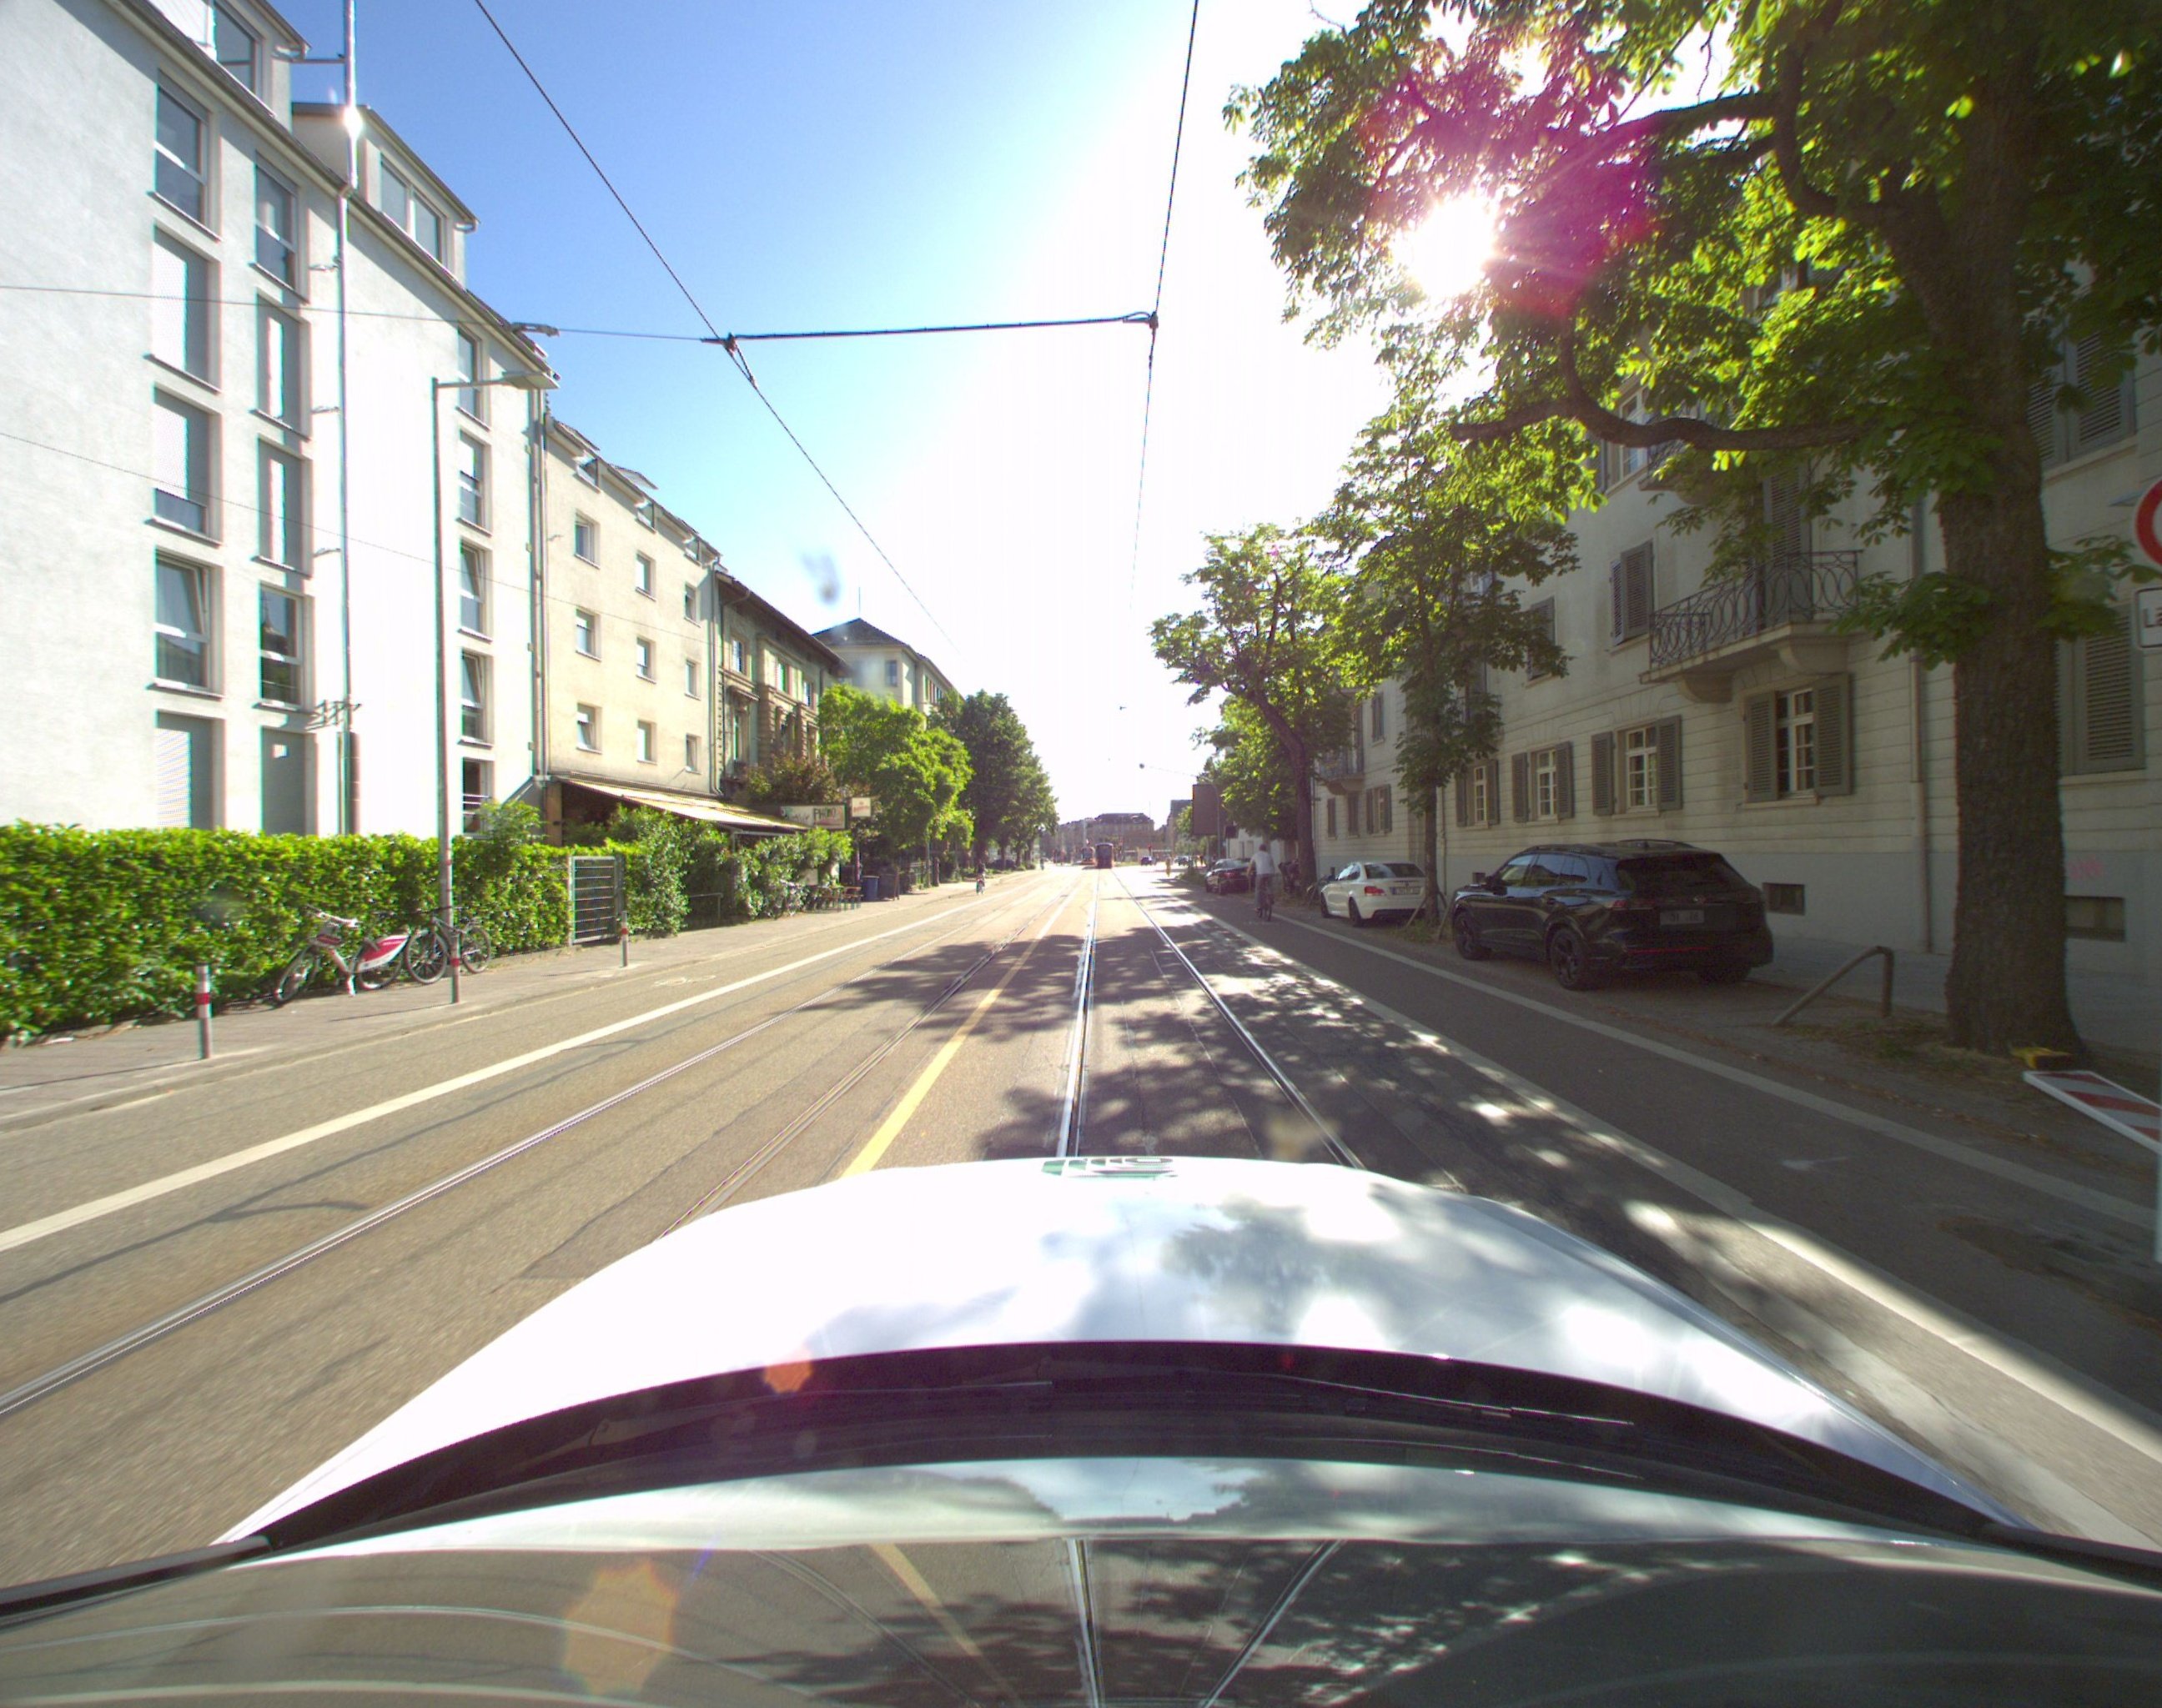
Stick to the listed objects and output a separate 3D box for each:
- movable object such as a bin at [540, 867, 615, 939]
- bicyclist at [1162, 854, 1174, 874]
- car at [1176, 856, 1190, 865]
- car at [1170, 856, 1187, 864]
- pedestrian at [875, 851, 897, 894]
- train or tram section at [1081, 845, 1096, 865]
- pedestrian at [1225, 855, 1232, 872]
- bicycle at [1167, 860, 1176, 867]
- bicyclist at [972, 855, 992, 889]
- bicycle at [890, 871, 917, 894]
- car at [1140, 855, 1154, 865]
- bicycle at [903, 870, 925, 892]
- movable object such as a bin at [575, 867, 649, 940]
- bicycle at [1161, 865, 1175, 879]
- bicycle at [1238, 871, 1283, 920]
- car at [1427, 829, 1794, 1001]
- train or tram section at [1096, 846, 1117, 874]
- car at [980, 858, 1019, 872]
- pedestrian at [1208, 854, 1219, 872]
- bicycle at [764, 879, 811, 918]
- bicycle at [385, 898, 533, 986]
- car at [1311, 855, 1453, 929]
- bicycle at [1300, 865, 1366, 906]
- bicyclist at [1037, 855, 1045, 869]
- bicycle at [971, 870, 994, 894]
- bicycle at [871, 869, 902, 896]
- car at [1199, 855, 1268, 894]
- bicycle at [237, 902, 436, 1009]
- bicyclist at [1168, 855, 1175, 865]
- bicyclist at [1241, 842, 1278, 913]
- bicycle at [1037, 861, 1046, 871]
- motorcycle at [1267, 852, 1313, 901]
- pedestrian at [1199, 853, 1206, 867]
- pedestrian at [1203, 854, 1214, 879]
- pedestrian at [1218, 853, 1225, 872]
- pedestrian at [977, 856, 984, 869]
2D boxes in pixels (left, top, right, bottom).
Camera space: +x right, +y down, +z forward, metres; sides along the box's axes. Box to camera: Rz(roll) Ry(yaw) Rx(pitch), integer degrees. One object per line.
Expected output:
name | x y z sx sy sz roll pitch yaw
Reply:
movable object such as a bin | -10.859 1.026 17.612 0.804 1.456 1.258 -2 0 0
bicyclist | 7.247 0.831 67.931 0.699 1.675 1.107 1 0 21
car | 17.052 1.043 136.341 1.775 1.511 3.728 0 0 16
car | 18.862 1.161 157.521 1.685 1.643 3.736 0 0 36
pedestrian | -8.298 0.780 34.682 0.570 1.831 0.693 -1 -1 20
train or tram section | 1.525 0.143 162.530 2.732 3.651 13.786 -1 0 1
pedestrian | 12.195 0.785 67.340 0.515 1.404 0.765 -1 -1 4
bicycle | 15.354 1.609 138.171 0.698 1.055 2.327 1 1 26
bicyclist | -4.931 0.897 40.662 0.742 1.599 1.118 -4 -1 2
bicycle | -8.505 1.355 38.996 0.586 1.045 1.910 0 0 10
car | 11.010 0.977 135.201 1.777 1.604 3.725 0 0 12
bicycle | -8.395 1.351 40.995 0.587 1.045 1.907 1 0 5
movable object such as a bin | -9.914 1.016 17.262 0.804 1.456 1.258 -2 0 0
bicycle | 7.241 1.509 67.932 0.699 1.104 1.726 1 0 21
bicycle | 4.345 0.975 19.857 0.735 1.094 2.113 0 0 3
car | 6.275 0.613 10.456 1.803 1.626 4.586 -3 0 2
train or tram section | 3.499 0.777 116.019 2.732 3.651 13.786 -1 0 1
car | -9.030 1.225 90.250 4.008 1.550 1.861 0 -1 -26
pedestrian | 12.186 0.808 74.912 0.853 1.641 0.994 -1 -2 4
bicycle | -8.624 1.287 24.001 0.636 1.059 1.744 1 0 3
bicycle | -9.034 1.240 11.941 0.659 1.089 1.841 2 -1 2
car | 6.512 0.748 18.132 1.716 1.382 4.359 -3 0 3
bicycle | 7.072 0.872 22.866 1.613 1.043 0.686 -3 0 2
bicyclist | -4.825 0.916 98.912 0.683 1.644 1.239 -3 -1 5
bicycle | -4.900 1.374 40.657 0.742 1.082 1.900 -4 -1 3
bicycle | -8.674 1.271 36.433 0.642 1.143 1.910 1 0 10
car | 6.407 0.808 34.734 1.817 1.458 4.814 -3 0 -2
bicycle | -9.070 1.194 10.050 0.659 1.089 1.841 2 -1 2
bicyclist | 15.353 1.065 138.132 0.698 1.700 0.993 1 1 26
bicyclist | 4.351 0.551 19.886 0.735 1.686 0.972 0 0 3
bicycle | -4.795 1.485 98.924 0.683 1.124 1.934 -3 -1 6
motorcycle | 6.881 0.722 26.967 0.910 1.488 2.681 -3 -1 3
pedestrian | 16.758 0.797 112.307 0.635 1.904 1.135 -3 0 3
pedestrian | 9.785 0.940 62.503 0.681 1.849 0.955 -2 0 0
pedestrian | 11.647 0.716 67.441 0.515 1.600 0.765 -1 -1 4
pedestrian | -12.490 1.060 101.159 0.698 1.635 0.759 1 0 1
